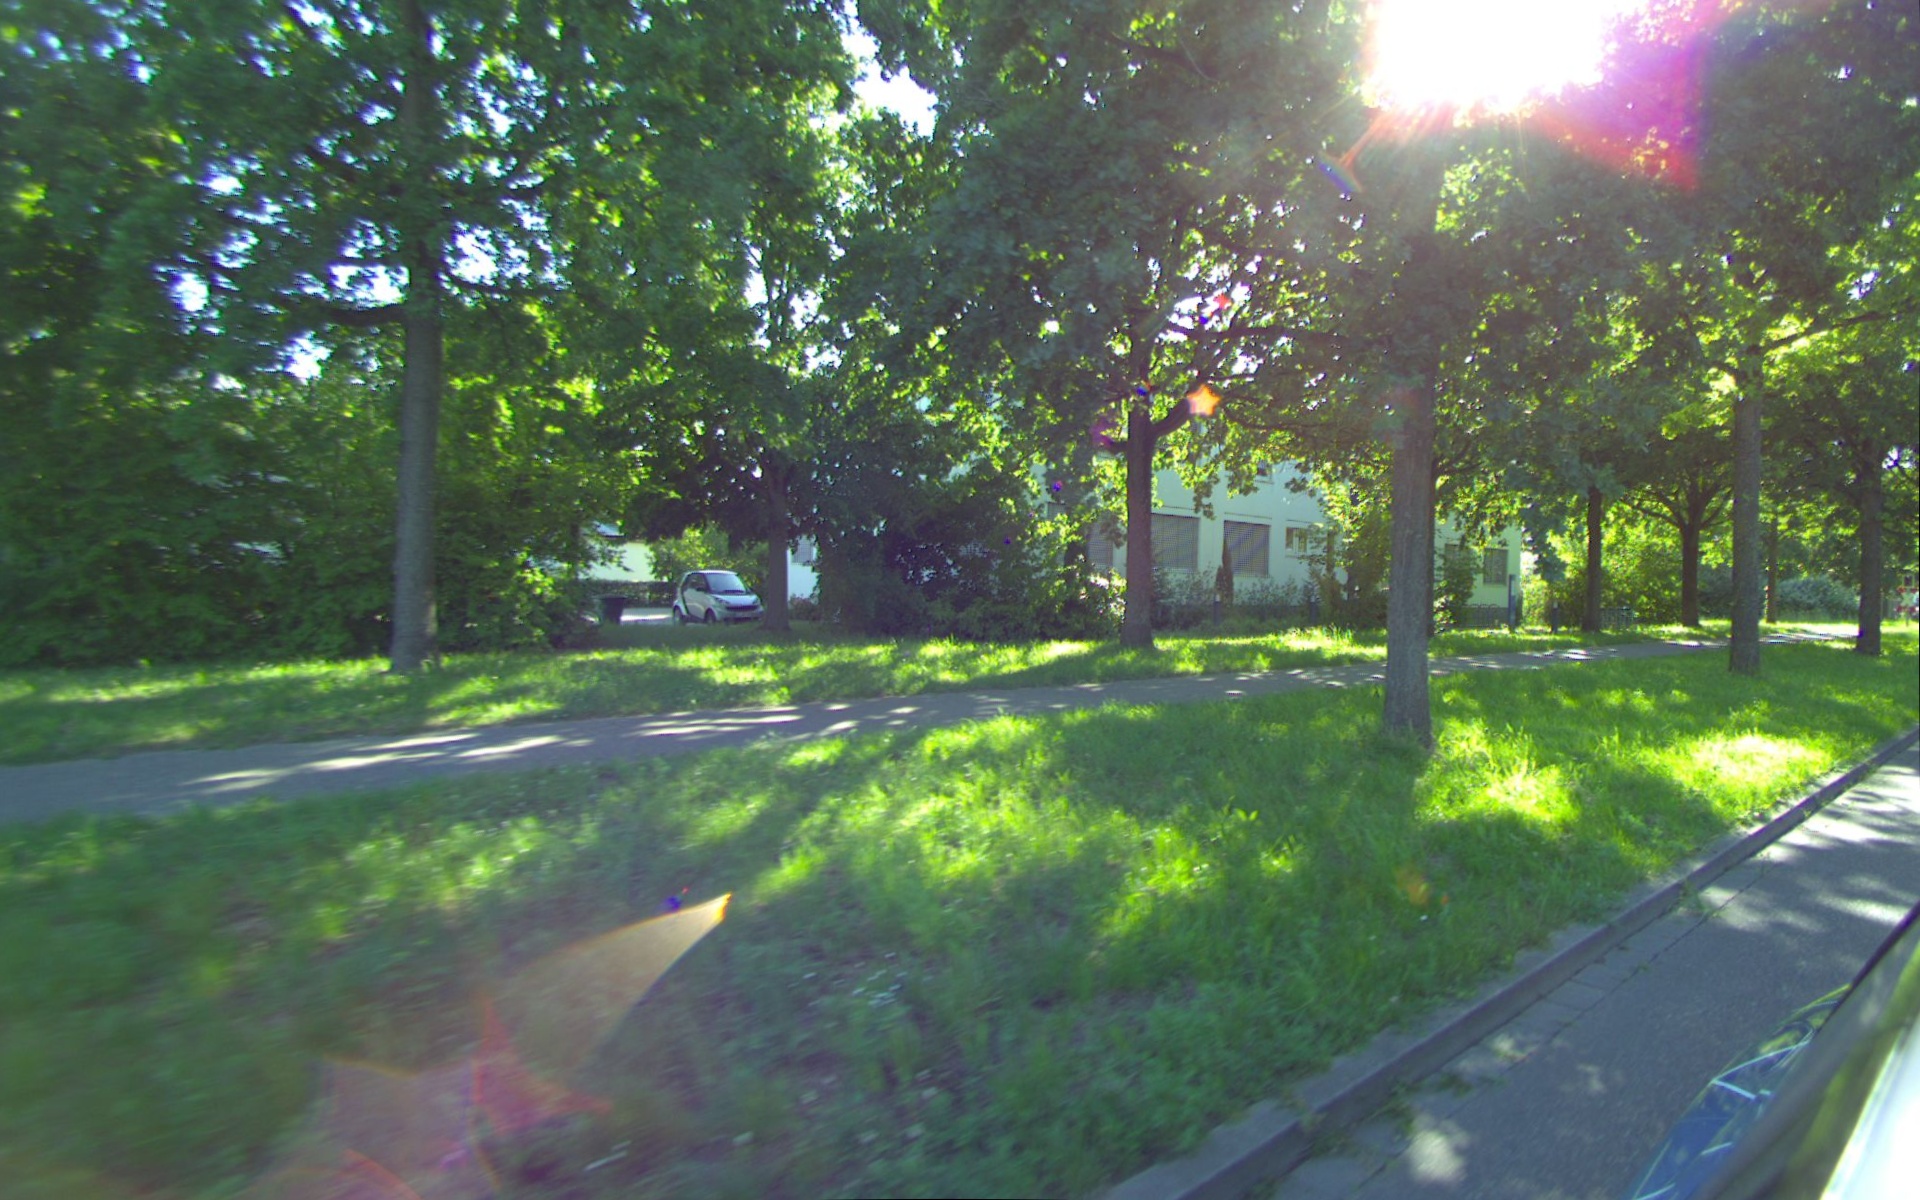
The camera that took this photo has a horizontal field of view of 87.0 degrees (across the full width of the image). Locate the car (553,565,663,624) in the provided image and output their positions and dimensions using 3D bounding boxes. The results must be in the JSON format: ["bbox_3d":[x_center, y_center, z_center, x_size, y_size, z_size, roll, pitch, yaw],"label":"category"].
[{"bbox_3d":[-8.471,-0.164,24.201,1.401,1.309,3.409,0,1,-39],"label":"car"}]
